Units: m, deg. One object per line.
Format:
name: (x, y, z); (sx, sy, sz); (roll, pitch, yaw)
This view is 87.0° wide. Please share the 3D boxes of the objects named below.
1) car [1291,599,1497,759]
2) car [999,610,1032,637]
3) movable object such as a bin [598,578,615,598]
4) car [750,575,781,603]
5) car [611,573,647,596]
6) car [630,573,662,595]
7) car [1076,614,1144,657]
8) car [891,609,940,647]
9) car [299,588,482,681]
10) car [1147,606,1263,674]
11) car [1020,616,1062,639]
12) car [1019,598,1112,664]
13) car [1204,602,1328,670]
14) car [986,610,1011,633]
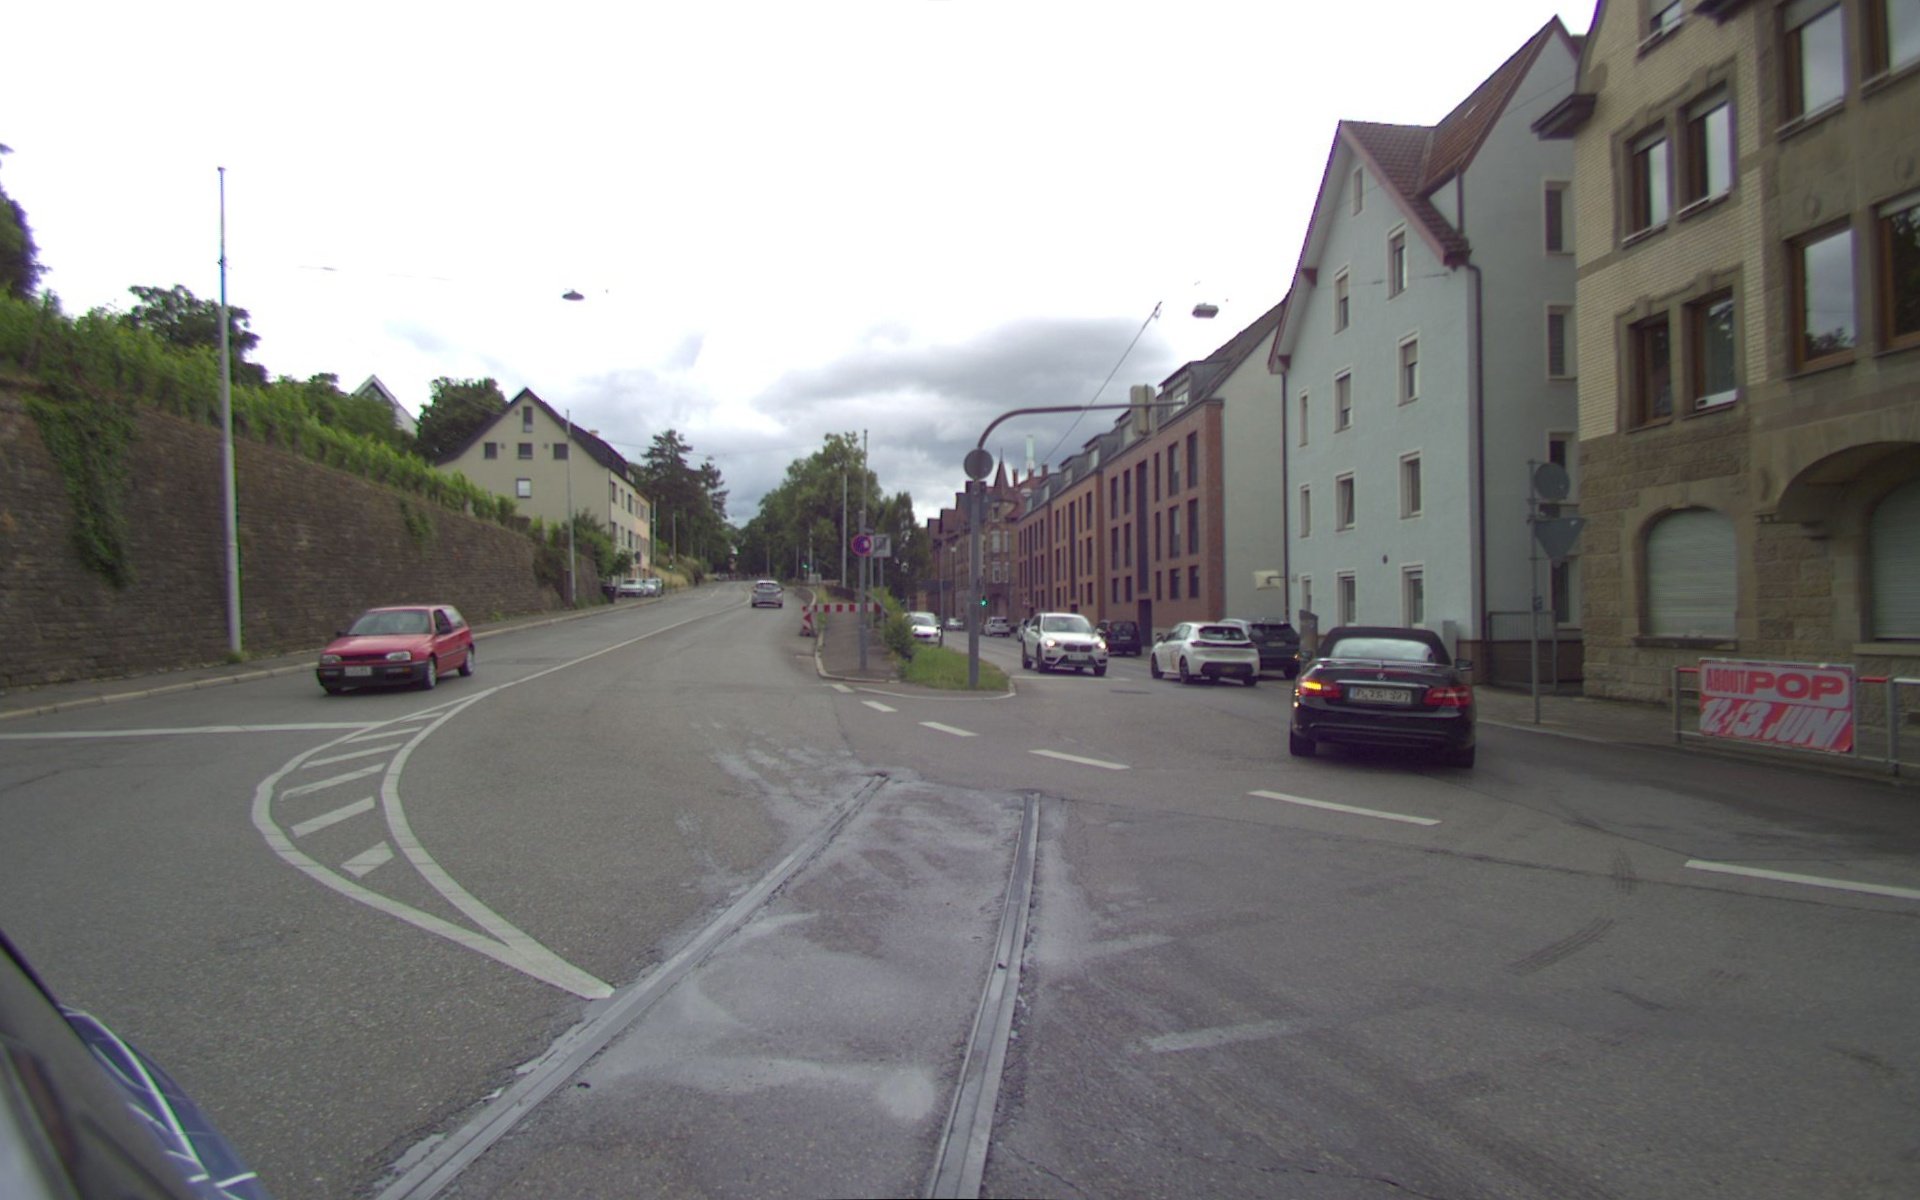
car: (4.742, 0.737, 11.483); (1.754, 1.420, 4.369); (0, -1, 20)
car: (3.696, 1.565, 67.910); (1.683, 1.511, 3.649); (-2, 3, -5)
movable object such as a bin: (-20.844, -0.704, 59.647); (0.798, 1.135, 0.876); (-1, 2, -8)
car: (-10.876, -0.578, 56.742); (1.648, 1.479, 3.651); (1, -1, -10)
car: (-24.687, -1.194, 75.648); (1.772, 1.586, 4.063); (-2, 2, -7)
car: (-25.229, -1.328, 81.344); (1.706, 1.586, 4.257); (-2, 2, -8)
car: (6.472, 1.512, 44.083); (1.969, 1.674, 4.005); (3, -1, -6)
car: (-1.861, 1.099, 41.524); (1.849, 1.453, 4.004); (1, 0, -4)
car: (-10.093, 0.528, 18.290); (1.621, 1.449, 4.009); (-1, 1, -10)
car: (5.767, 0.903, 24.292); (1.661, 1.477, 3.921); (1, -1, -3)
car: (4.955, 1.687, 62.359); (1.970, 1.320, 4.004); (1, -1, -5)
car: (2.804, 0.786, 27.859); (1.806, 1.525, 4.427); (-1, 2, -3)
car: (8.189, 0.898, 27.475); (1.661, 1.567, 4.240); (-1, 2, -6)
car: (3.137, 1.752, 83.750); (1.792, 1.807, 3.845); (1, 0, -1)
